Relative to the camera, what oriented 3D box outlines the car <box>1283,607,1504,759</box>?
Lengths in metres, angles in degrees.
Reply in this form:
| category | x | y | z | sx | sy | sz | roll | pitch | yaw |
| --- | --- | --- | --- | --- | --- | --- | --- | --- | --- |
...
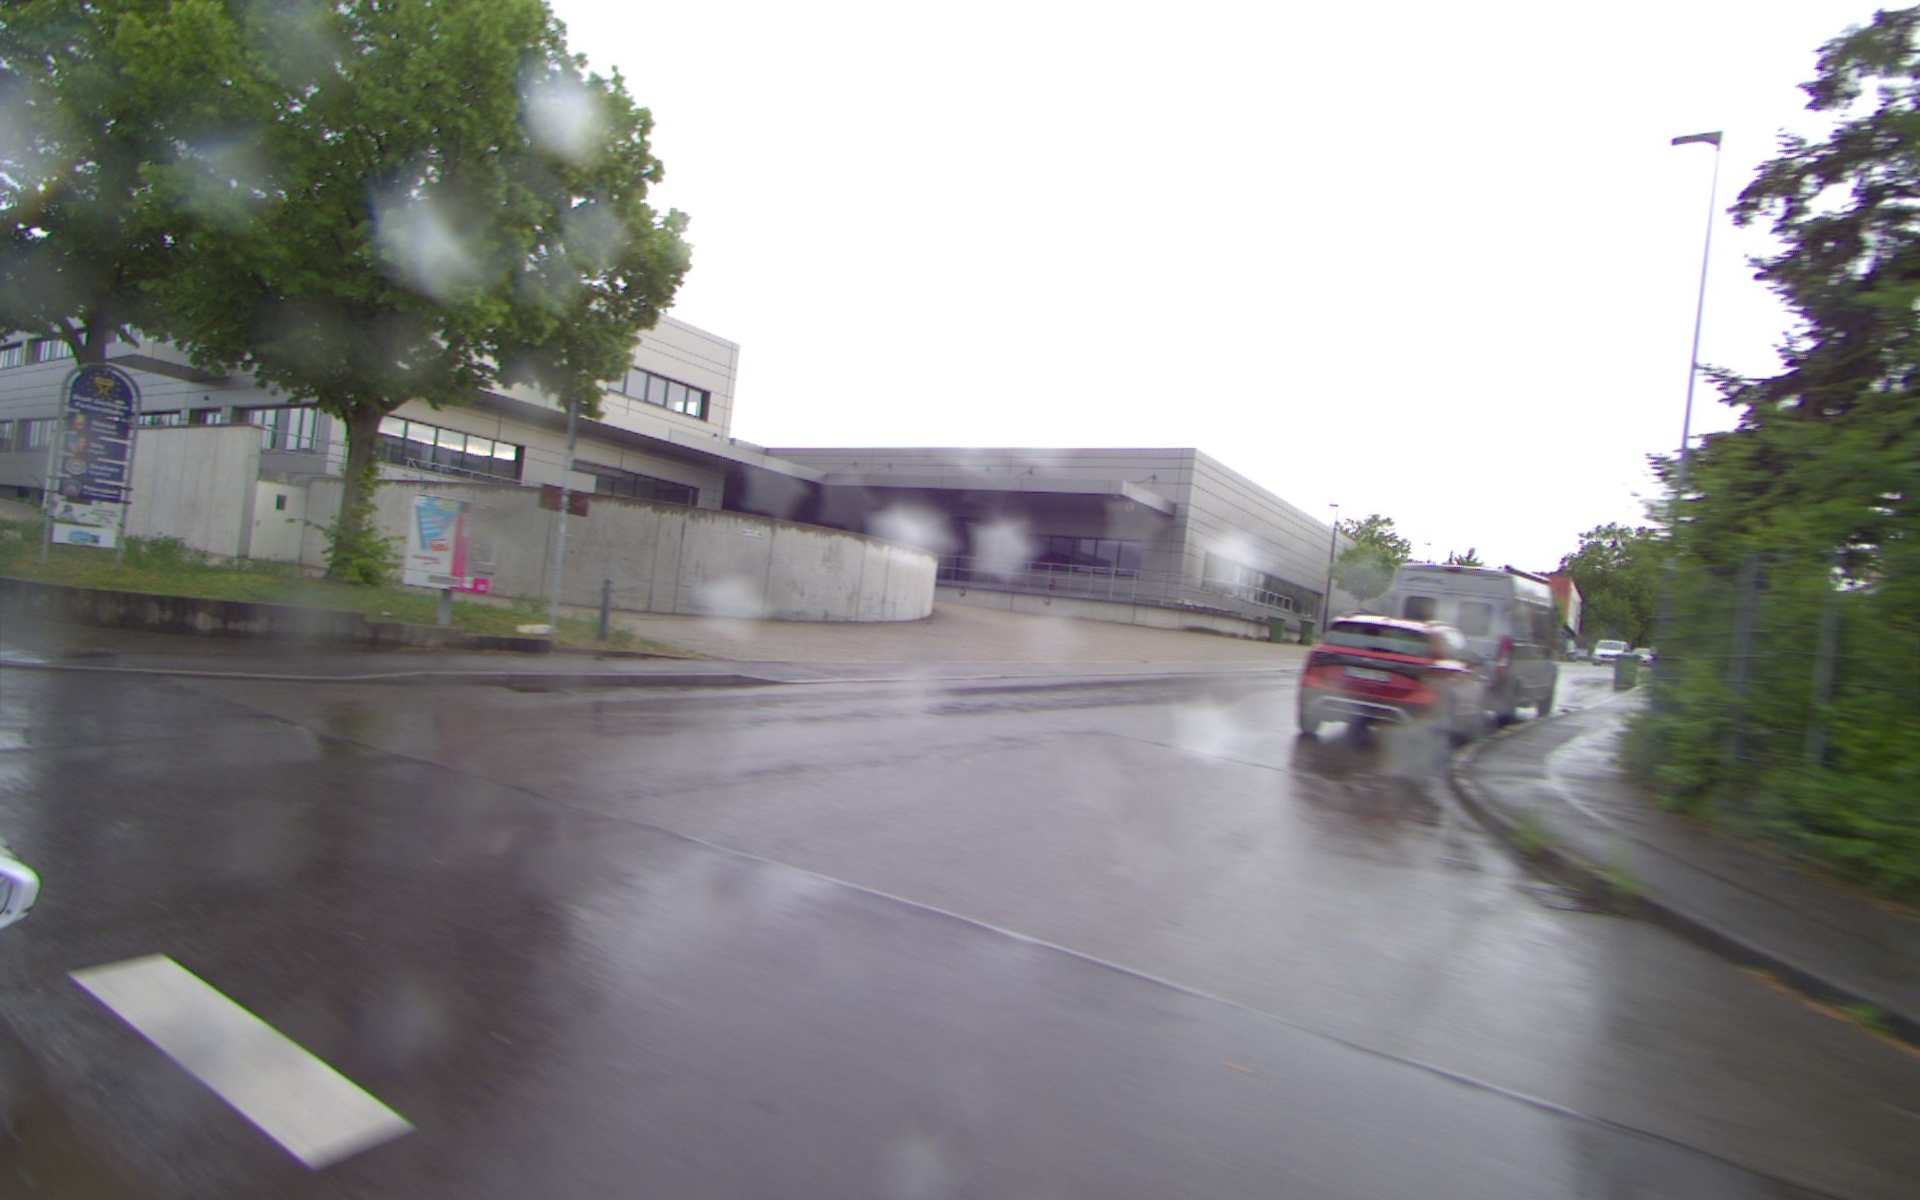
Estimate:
| category | x | y | z | sx | sy | sz | roll | pitch | yaw |
| --- | --- | --- | --- | --- | --- | --- | --- | --- | --- |
| car | 5.808 | 1.017 | 13.206 | 1.741 | 1.518 | 3.878 | 7 | 2 | 36 |

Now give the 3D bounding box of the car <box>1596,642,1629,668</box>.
| category | x | y | z | sx | sy | sz | roll | pitch | yaw |
| --- | --- | --- | --- | --- | --- | --- | --- | --- | --- |
| car | 46.453 | 3.922 | 71.605 | 1.613 | 1.436 | 3.990 | 7 | -2 | 36 |

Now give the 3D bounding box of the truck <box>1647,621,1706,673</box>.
| category | x | y | z | sx | sy | sz | roll | pitch | yaw |
| --- | --- | --- | --- | --- | --- | --- | --- | --- | --- |
| truck | 41.767 | 2.783 | 58.608 | 2.139 | 2.264 | 5.861 | 7 | -2 | 40 |

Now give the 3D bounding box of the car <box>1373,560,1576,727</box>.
| category | x | y | z | sx | sy | sz | roll | pitch | yaw |
| --- | --- | --- | --- | --- | --- | --- | --- | --- | --- |
| car | 9.363 | 0.725 | 18.086 | 1.971 | 2.471 | 4.891 | 7 | 3 | 40 |
